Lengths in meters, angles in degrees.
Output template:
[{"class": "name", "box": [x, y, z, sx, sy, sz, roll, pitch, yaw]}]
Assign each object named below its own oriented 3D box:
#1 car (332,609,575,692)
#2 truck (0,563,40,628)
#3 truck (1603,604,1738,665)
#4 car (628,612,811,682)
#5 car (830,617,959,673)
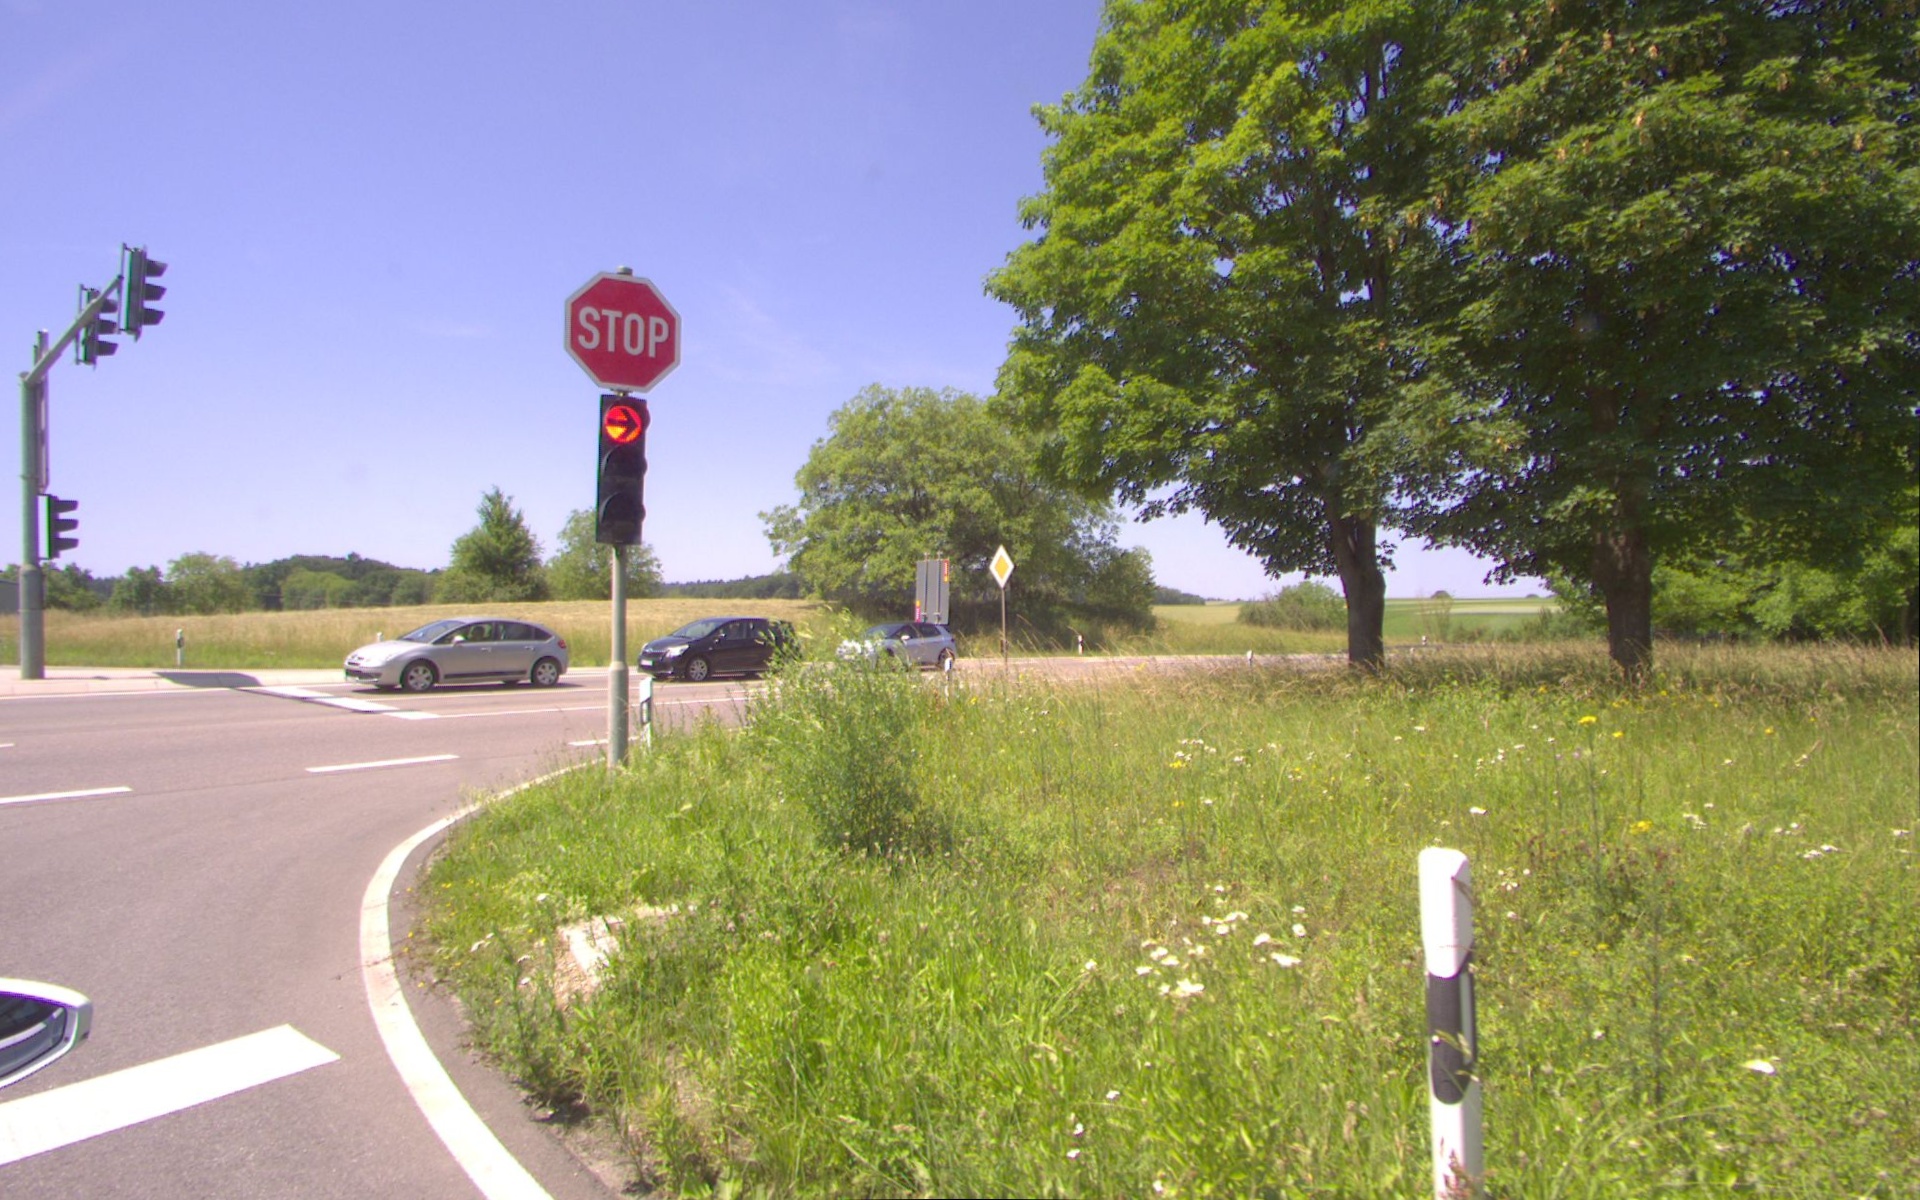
[{"class": "car", "box": [-10.364, 1.005, 20.747, 1.708, 1.489, 4.141, 2, 0, 39]}, {"class": "truck", "box": [-66.725, -0.235, 68.781, 3.096, 4.227, 16.571, 1, -1, -35]}, {"class": "truck", "box": [52.932, 2.595, 74.279, 16.601, 4.185, 2.832, 2, -1, -35]}, {"class": "car", "box": [-6.079, 1.176, 25.675, 1.709, 1.573, 4.347, 2, 0, 42]}, {"class": "car", "box": [-1.996, 1.396, 31.427, 1.636, 1.573, 3.989, 2, 0, 42]}]
